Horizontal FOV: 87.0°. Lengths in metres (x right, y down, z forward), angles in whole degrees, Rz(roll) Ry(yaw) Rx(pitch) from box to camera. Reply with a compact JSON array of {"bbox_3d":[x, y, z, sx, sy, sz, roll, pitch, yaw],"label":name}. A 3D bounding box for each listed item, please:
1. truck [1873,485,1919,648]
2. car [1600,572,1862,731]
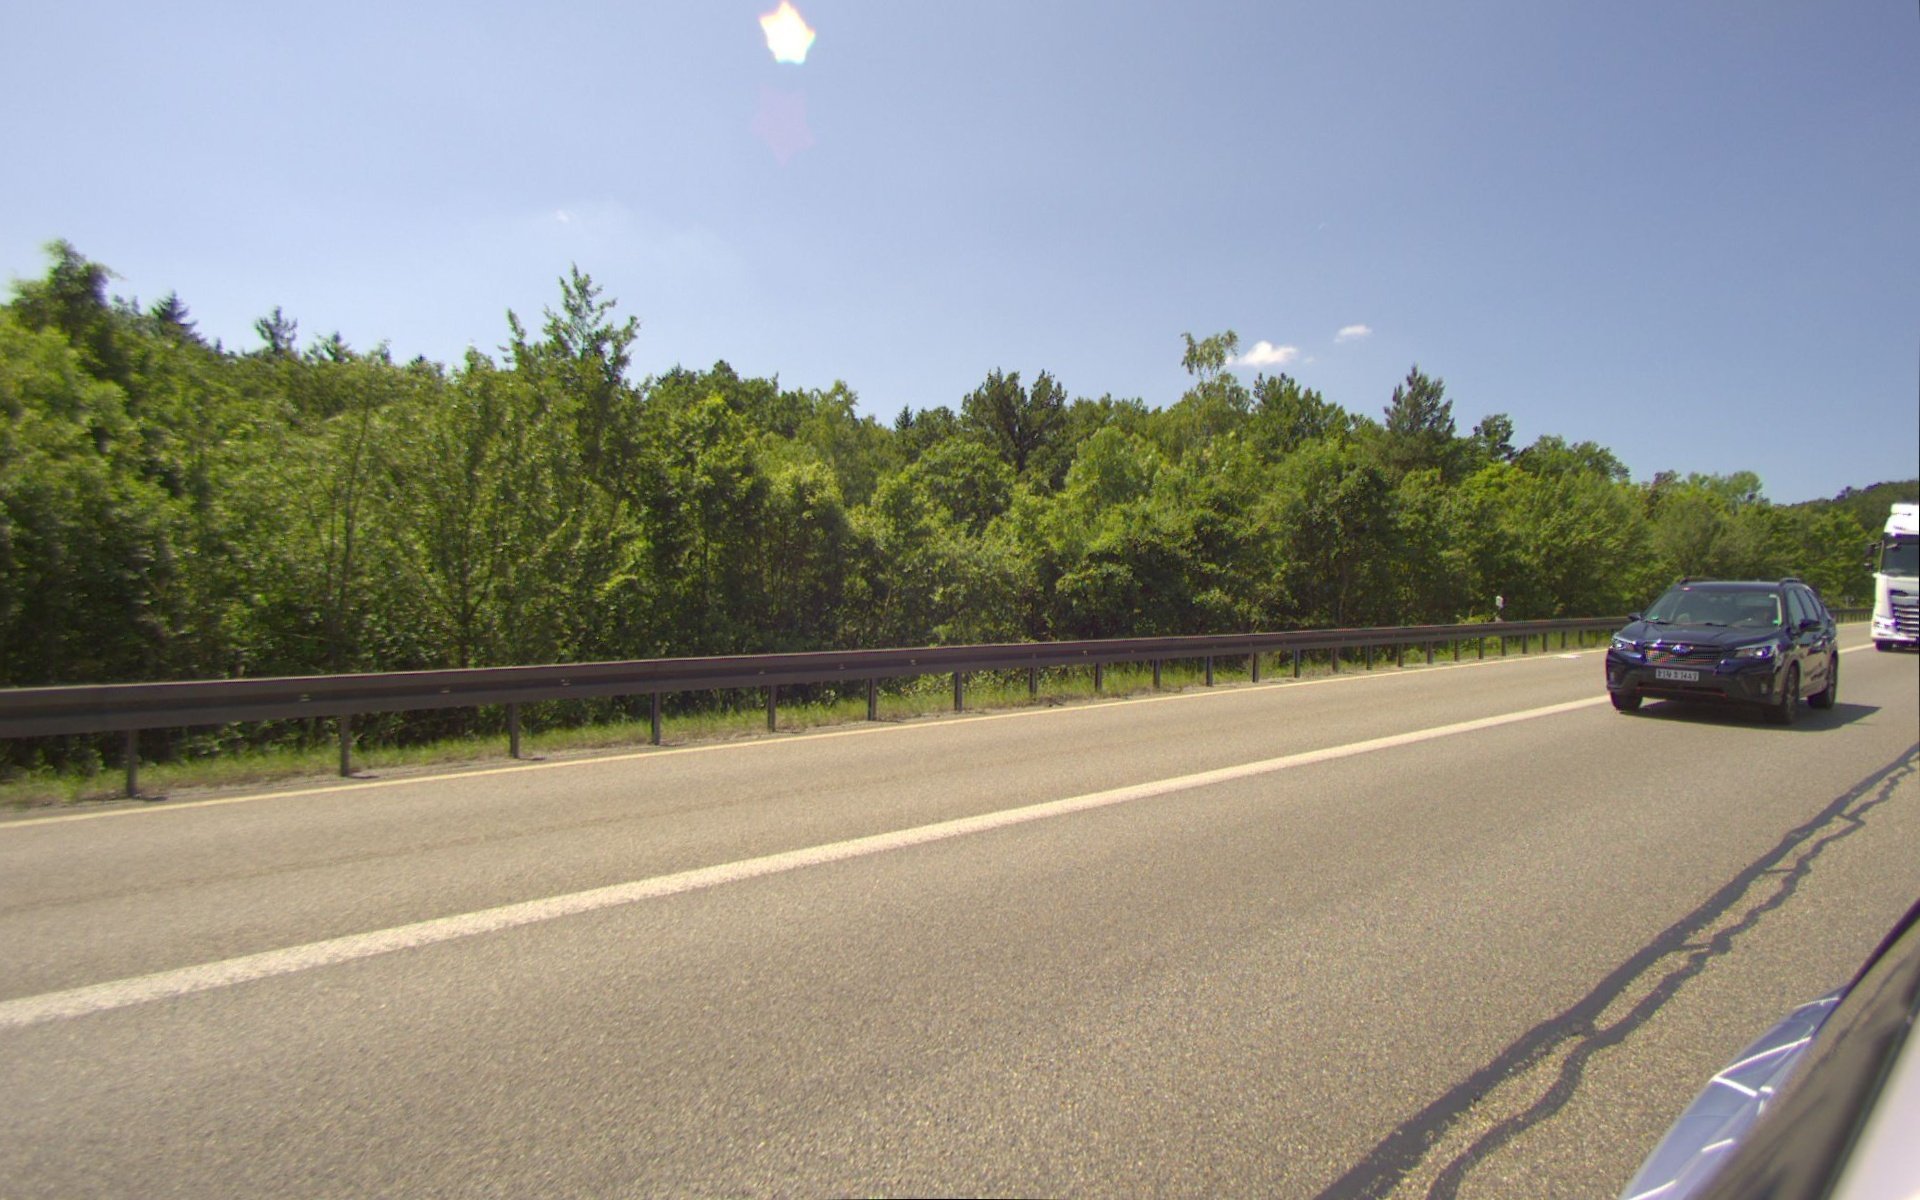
[{"bbox_3d":[31.403,-0.851,31.100,15.980,4.220,2.789,0,2,-40],"label":"truck"},{"bbox_3d":[10.067,0.526,13.107,4.129,1.688,1.816,-1,3,-40],"label":"car"}]
